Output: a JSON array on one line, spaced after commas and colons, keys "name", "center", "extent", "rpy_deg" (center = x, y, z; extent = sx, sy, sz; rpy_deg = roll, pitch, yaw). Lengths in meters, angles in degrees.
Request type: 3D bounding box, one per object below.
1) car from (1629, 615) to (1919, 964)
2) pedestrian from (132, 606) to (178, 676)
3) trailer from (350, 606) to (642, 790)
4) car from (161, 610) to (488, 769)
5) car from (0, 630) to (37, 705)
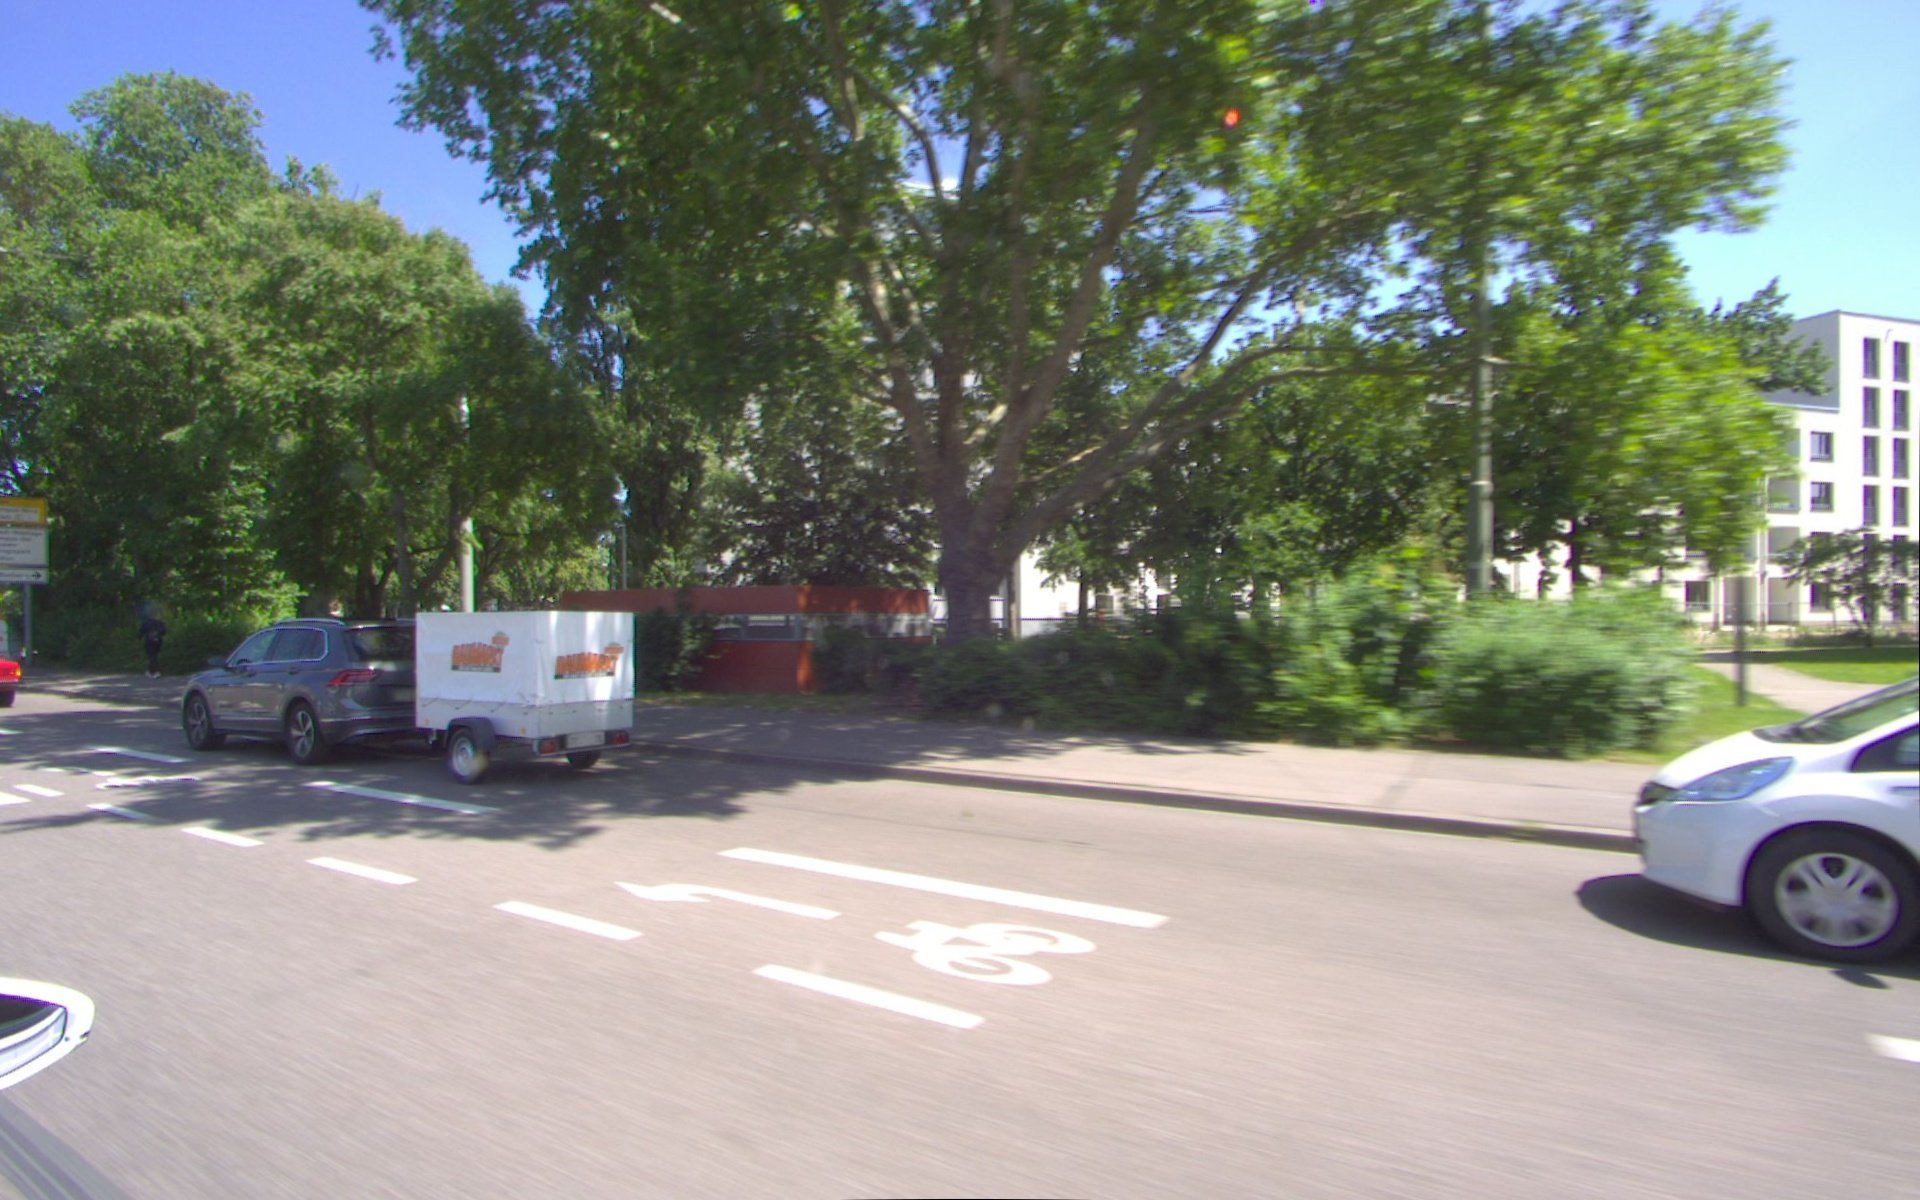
[{"name": "car", "center": [5.350, 0.845, 4.561], "extent": [3.825, 1.507, 1.717], "rpy_deg": [-1, -2, 35]}, {"name": "pedestrian", "center": [-21.647, 1.082, 26.931], "extent": [0.683, 1.840, 0.751], "rpy_deg": [0, 1, 32]}, {"name": "trailer", "center": [-4.914, 0.937, 10.573], "extent": [2.814, 1.690, 1.467], "rpy_deg": [0, -2, 31]}, {"name": "car", "center": [-7.980, 0.996, 12.471], "extent": [4.334, 1.675, 1.697], "rpy_deg": [0, -2, 32]}, {"name": "car", "center": [-20.280, 1.301, 19.986], "extent": [4.205, 1.414, 1.653], "rpy_deg": [0, -2, 32]}]
